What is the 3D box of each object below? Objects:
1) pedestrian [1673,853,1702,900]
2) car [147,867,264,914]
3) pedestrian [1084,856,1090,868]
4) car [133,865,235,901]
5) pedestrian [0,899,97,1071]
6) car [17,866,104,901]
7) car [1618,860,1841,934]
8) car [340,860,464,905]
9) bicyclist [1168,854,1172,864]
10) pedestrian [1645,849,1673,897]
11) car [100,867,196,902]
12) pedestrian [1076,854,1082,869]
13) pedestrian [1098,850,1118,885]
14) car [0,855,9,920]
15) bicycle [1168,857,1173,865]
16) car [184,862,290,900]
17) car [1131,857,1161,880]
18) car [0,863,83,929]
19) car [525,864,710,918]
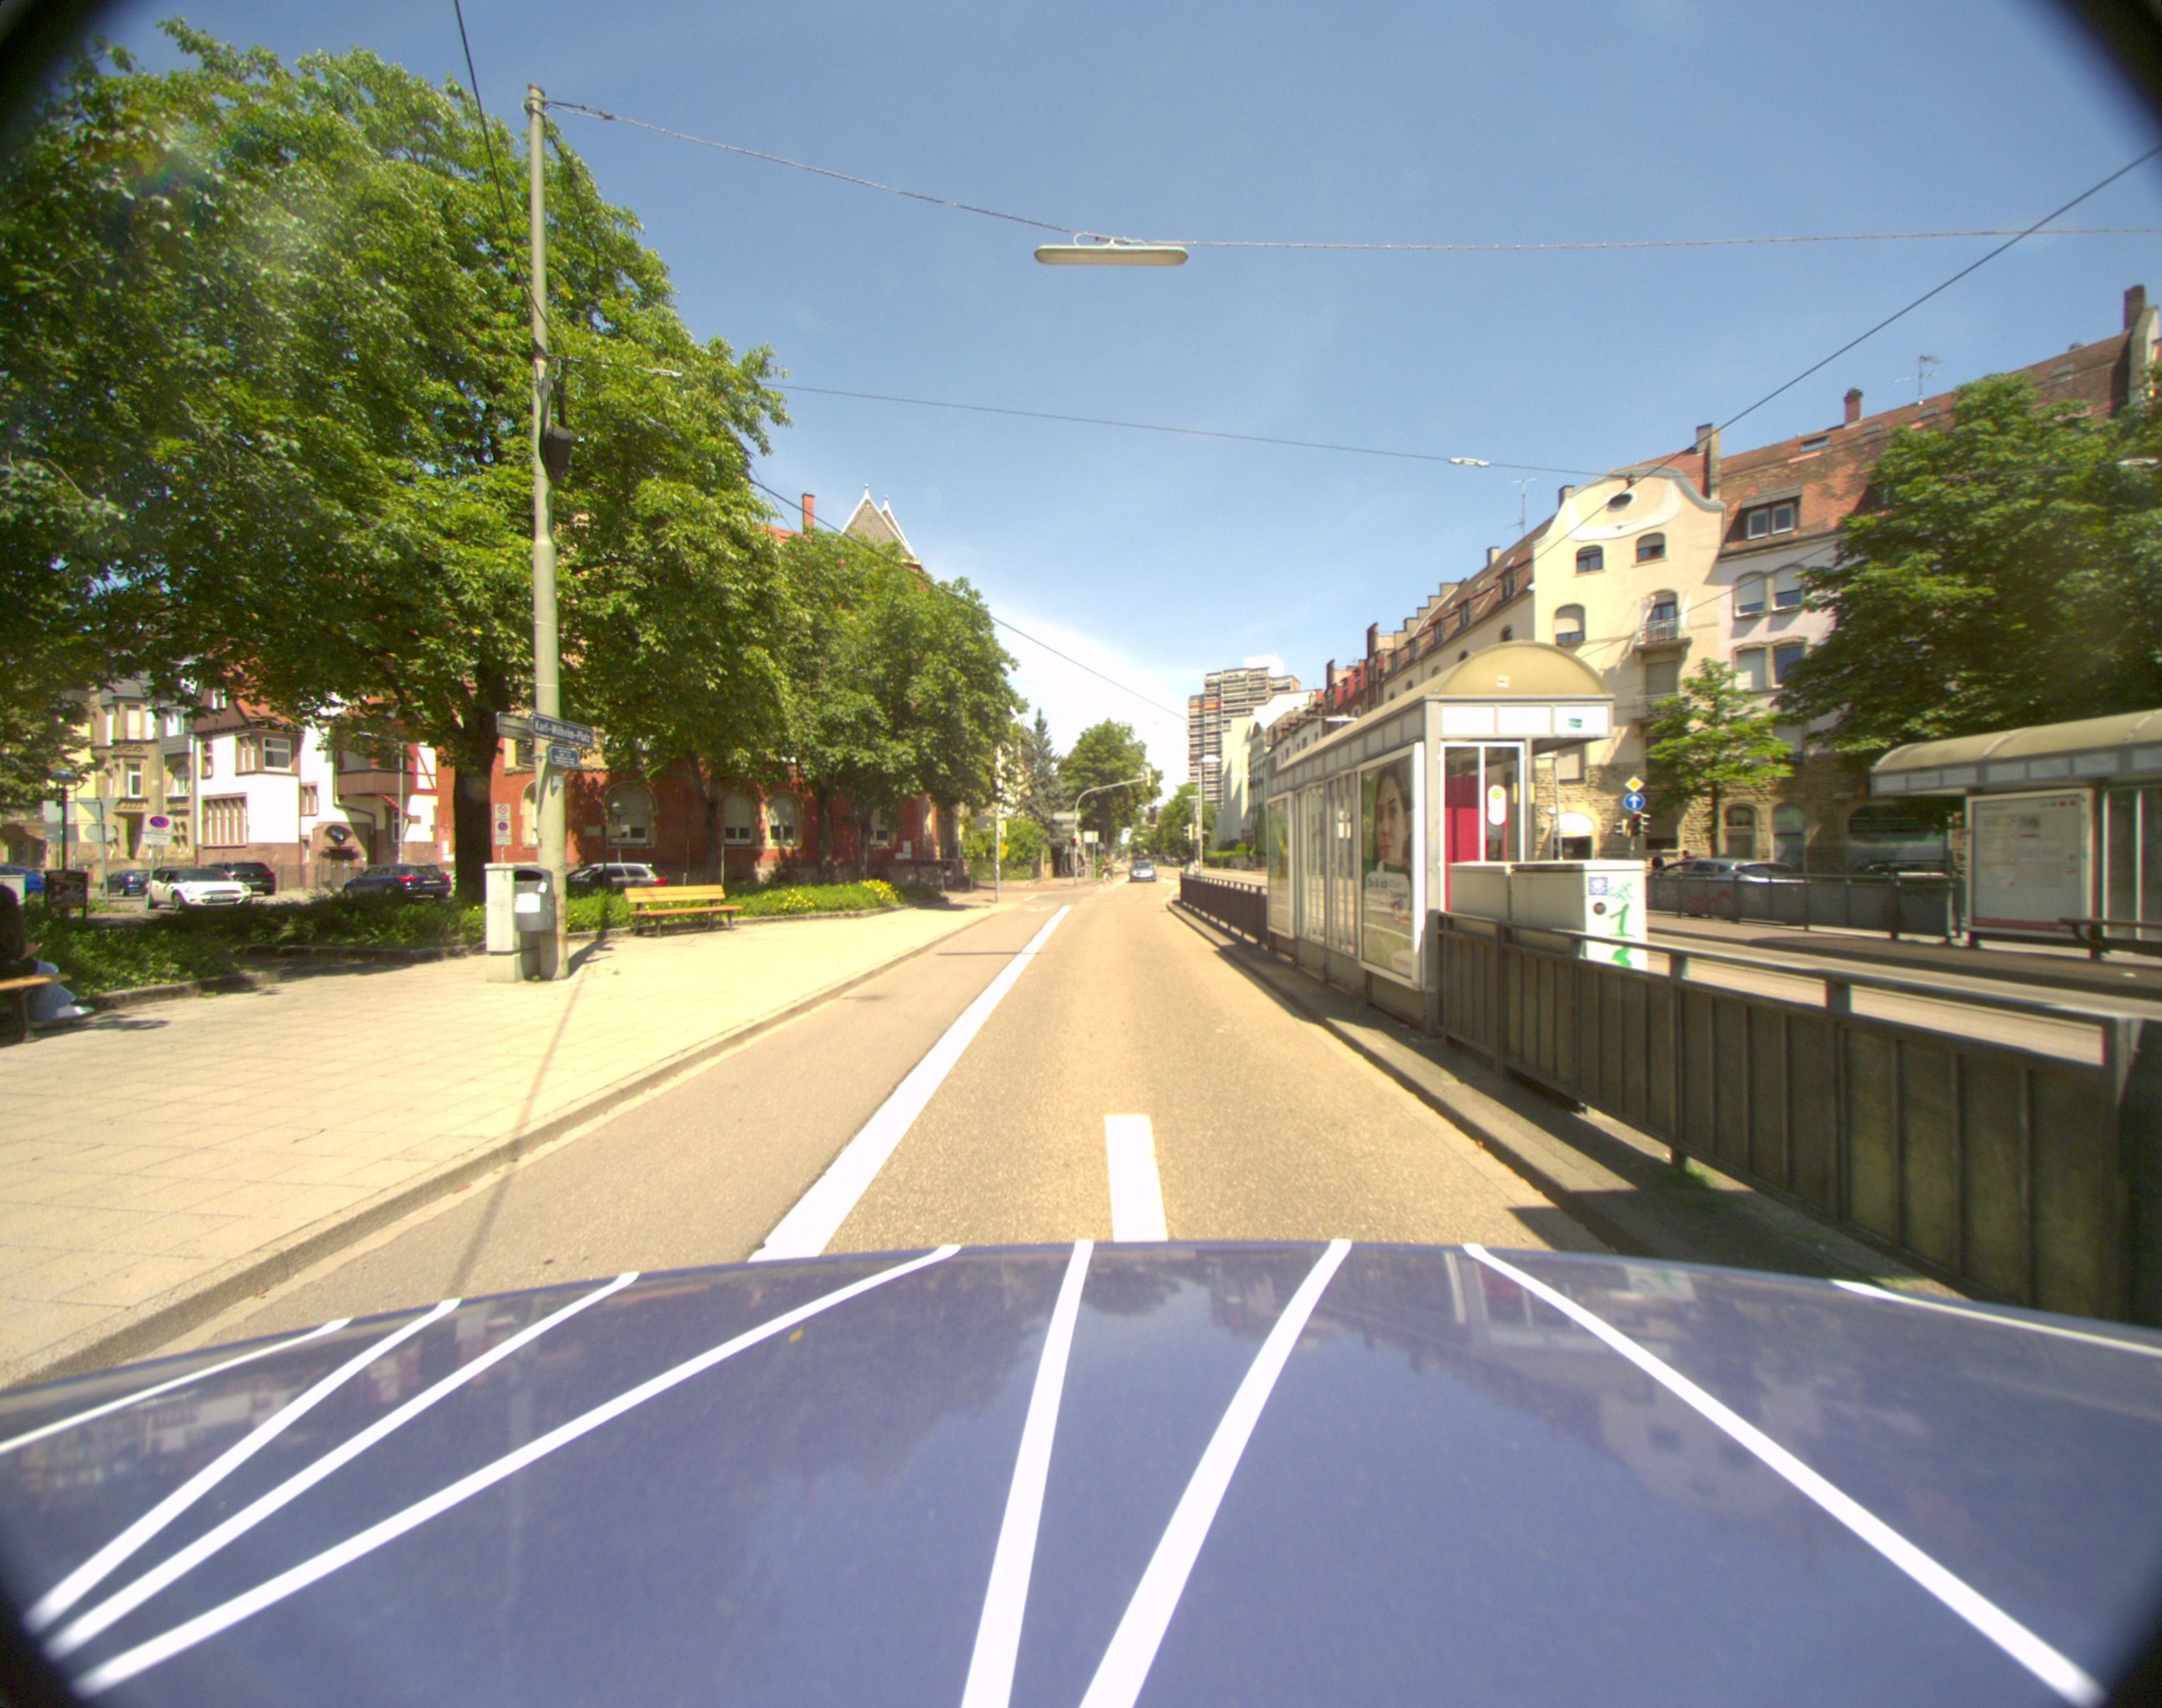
[{"bbox_3d":[20.282,0.756,25.424,0.594,1.542,0.474,0,0,-1],"label":"pedestrian"},{"bbox_3d":[-30.056,1.219,26.092,3.643,1.497,1.709,-1,-1,25],"label":"car"},{"bbox_3d":[0.884,1.228,113.323,0.686,1.732,0.660,-2,1,3],"label":"pedestrian"},{"bbox_3d":[-44.155,1.429,37.408,4.299,1.608,1.941,-2,1,23],"label":"car"},{"bbox_3d":[-7.747,0.910,5.415,0.566,1.136,0.725,0,1,-16],"label":"pedestrian"},{"bbox_3d":[-59.184,1.707,44.074,4.299,1.862,1.941,-2,1,23],"label":"car"},{"bbox_3d":[14.833,0.911,17.725,1.812,1.386,3.999,-2,1,1],"label":"car"},{"bbox_3d":[-27.049,1.132,30.283,4.299,1.608,1.941,-2,1,23],"label":"car"},{"bbox_3d":[17.153,0.910,145.816,0.644,1.864,0.716,-2,1,-2],"label":"bicyclist"},{"bbox_3d":[20.129,0.653,26.456,0.594,1.637,0.474,0,0,1],"label":"pedestrian"},{"bbox_3d":[-48.429,1.570,39.430,4.299,1.608,1.941,-2,1,23],"label":"car"},{"bbox_3d":[-0.206,0.858,82.951,0.702,1.645,0.665,0,0,1],"label":"pedestrian"},{"bbox_3d":[1.436,0.713,40.602,0.840,1.813,0.672,0,1,-26],"label":"pedestrian"},{"bbox_3d":[-37.665,1.198,23.791,1.934,2.178,4.315,-2,1,23],"label":"car"},{"bbox_3d":[17.179,1.351,145.832,0.644,1.503,1.970,-2,1,-2],"label":"bicycle"},{"bbox_3d":[-39.595,1.274,35.662,4.299,1.608,1.941,-2,1,23],"label":"car"},{"bbox_3d":[4.365,0.940,50.974,1.895,1.372,4.001,-2,1,5],"label":"car"},{"bbox_3d":[-32.849,1.299,22.023,1.934,1.869,4.315,-2,1,23],"label":"car"},{"bbox_3d":[-15.597,1.195,25.920,5.039,1.474,1.935,-2,1,-21],"label":"car"}]
